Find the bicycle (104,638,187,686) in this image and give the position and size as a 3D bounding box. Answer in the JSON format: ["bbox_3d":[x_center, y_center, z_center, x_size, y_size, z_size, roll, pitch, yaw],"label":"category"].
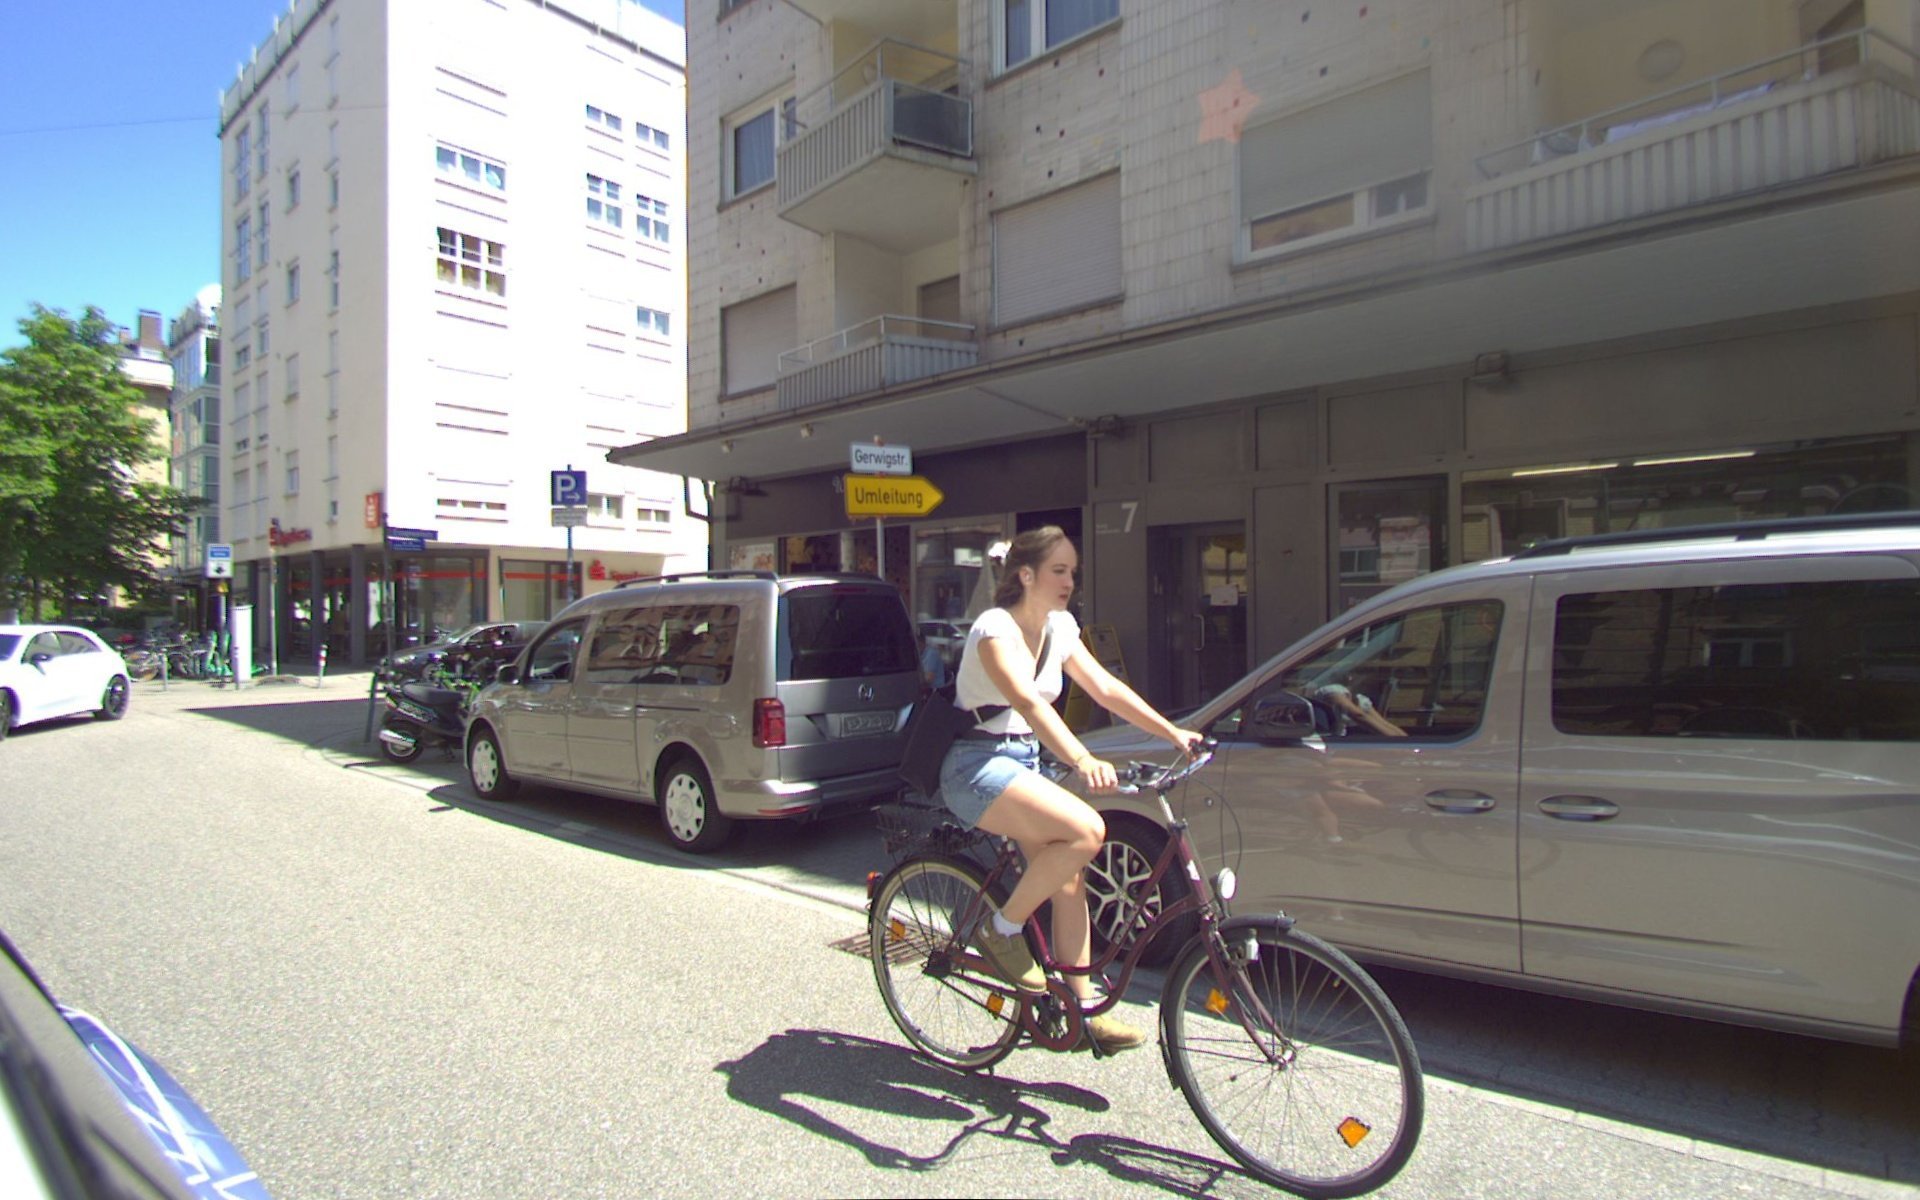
[{"bbox_3d":[-20.666,1.555,25.706,1.586,1.099,0.371,-2,0,-44],"label":"bicycle"}]

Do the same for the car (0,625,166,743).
[{"bbox_3d":[-12.854,1.073,13.483,1.786,1.436,4.250,-1,-1,-10],"label":"car"}]

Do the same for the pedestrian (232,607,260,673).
[{"bbox_3d":[-23.541,1.309,33.369,0.599,2.141,0.496,0,-1,-13],"label":"pedestrian"}]

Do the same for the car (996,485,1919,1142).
[{"bbox_3d":[2.566,0.602,4.017,4.693,1.825,1.771,-2,0,39],"label":"car"}]

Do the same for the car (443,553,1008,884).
[{"bbox_3d":[-2.107,0.704,7.937,4.898,1.843,1.770,-2,0,41],"label":"car"}]

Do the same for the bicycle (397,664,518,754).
[{"bbox_3d":[-5.757,1.240,11.618,1.194,0.964,0.337,-1,0,-6],"label":"bicycle"}]

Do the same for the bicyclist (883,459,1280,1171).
[{"bbox_3d":[0.340,0.527,3.012,0.978,1.719,0.616,-2,-2,41],"label":"bicyclist"}]

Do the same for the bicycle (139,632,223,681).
[{"bbox_3d":[-19.169,1.369,24.935,1.586,1.099,0.371,-2,0,-44],"label":"bicycle"}]

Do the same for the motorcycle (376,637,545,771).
[{"bbox_3d":[-5.237,1.072,10.673,1.530,1.293,0.394,-1,1,-17],"label":"motorcycle"}]

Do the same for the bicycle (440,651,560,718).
[{"bbox_3d":[-6.914,1.272,15.216,1.692,0.964,0.409,-1,0,9],"label":"bicycle"}]

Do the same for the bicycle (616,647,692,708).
[{"bbox_3d":[-5.257,1.303,17.332,1.711,0.964,0.405,-1,0,42],"label":"bicycle"}]

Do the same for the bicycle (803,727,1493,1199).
[{"bbox_3d":[0.404,1.007,2.950,1.939,1.100,0.596,-2,-2,41],"label":"bicycle"}]

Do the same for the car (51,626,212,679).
[{"bbox_3d":[-26.809,1.654,32.849,1.651,1.540,3.835,-2,-2,40],"label":"car"}]

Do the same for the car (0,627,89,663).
[{"bbox_3d":[-40.972,1.978,44.498,1.651,1.507,3.835,-2,-2,40],"label":"car"}]

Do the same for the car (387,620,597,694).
[{"bbox_3d":[-10.219,1.189,22.246,3.834,1.436,1.816,0,-2,-45],"label":"car"}]

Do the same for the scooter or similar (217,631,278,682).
[{"bbox_3d":[-17.020,1.341,24.191,0.289,1.176,1.177,-2,-2,39],"label":"scooter or similar"}]

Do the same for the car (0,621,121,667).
[{"bbox_3d":[-36.586,1.750,40.974,1.651,1.760,3.835,-2,-2,40],"label":"car"}]

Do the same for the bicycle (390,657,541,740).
[{"bbox_3d":[-6.322,1.250,12.983,1.684,0.964,0.411,-1,0,-6],"label":"bicycle"}]

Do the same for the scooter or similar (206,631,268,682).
[{"bbox_3d":[-17.344,1.348,24.287,0.289,1.176,1.177,-2,-2,39],"label":"scooter or similar"}]

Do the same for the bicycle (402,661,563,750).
[{"bbox_3d":[-5.672,1.241,12.073,1.684,0.964,0.411,-1,0,-6],"label":"bicycle"}]

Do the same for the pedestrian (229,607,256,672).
[{"bbox_3d":[-24.110,1.324,34.010,0.605,2.141,0.492,-1,-1,22],"label":"pedestrian"}]
